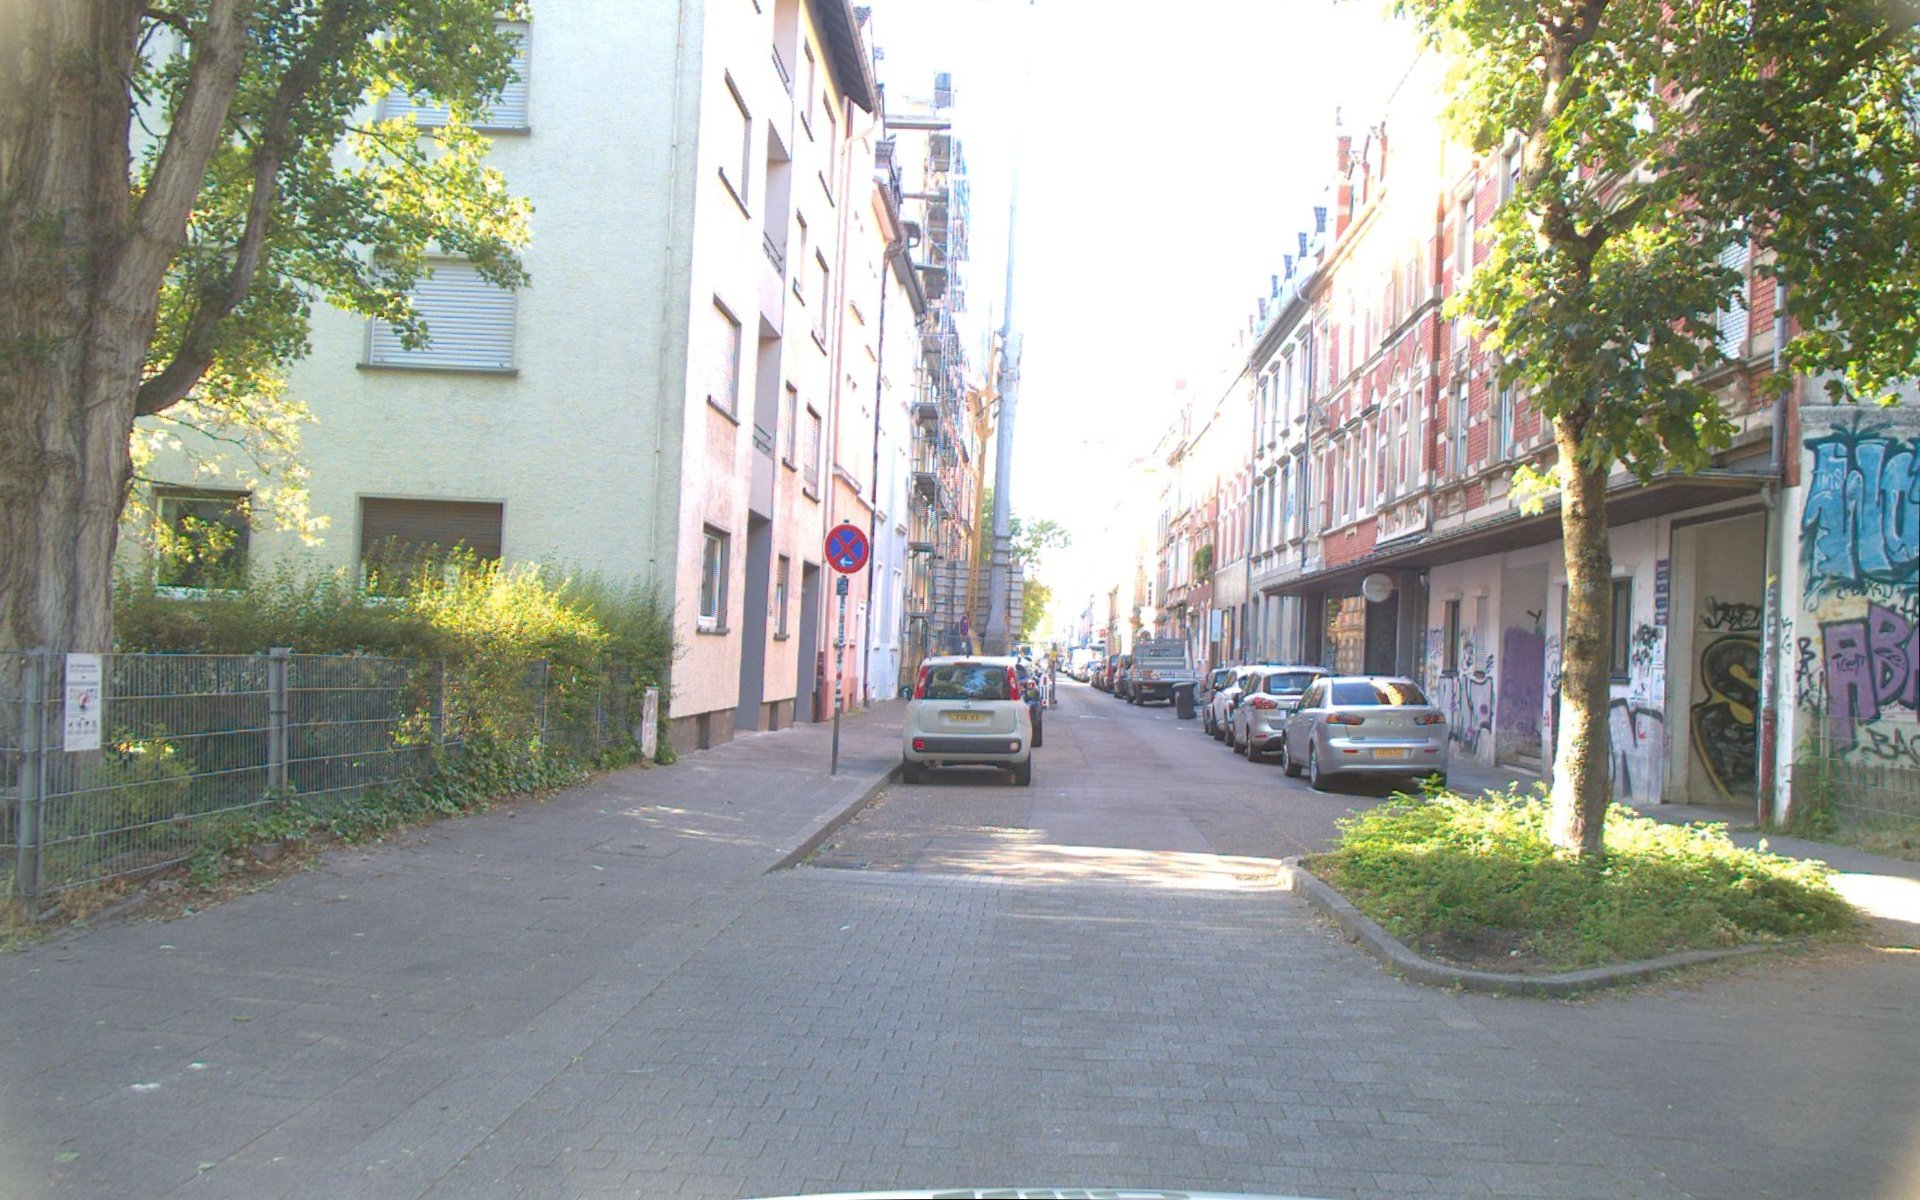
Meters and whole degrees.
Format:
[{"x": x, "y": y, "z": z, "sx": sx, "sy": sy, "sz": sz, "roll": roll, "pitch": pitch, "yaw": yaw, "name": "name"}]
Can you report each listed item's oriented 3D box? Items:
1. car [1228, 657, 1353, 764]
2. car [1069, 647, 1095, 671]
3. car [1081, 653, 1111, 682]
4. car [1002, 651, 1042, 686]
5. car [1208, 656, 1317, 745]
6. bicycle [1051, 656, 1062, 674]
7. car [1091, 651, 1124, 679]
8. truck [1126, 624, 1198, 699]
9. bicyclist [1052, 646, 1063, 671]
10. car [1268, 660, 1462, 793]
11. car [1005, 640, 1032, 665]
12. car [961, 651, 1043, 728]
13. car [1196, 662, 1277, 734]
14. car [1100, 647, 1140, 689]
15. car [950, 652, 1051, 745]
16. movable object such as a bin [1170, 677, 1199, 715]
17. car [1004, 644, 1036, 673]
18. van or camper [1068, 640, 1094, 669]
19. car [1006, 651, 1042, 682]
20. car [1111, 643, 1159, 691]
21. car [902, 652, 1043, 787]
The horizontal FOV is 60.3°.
[{"x": 5.779, "y": 1.895, "z": 29.292, "sx": 1.606, "sy": 1.685, "sz": 3.870, "roll": 2, "pitch": -2, "yaw": 3, "name": "car"}, {"x": 10.149, "y": 4.909, "z": 137.493, "sx": 1.952, "sy": 1.881, "sz": 4.000, "roll": 1, "pitch": -2, "yaw": 1, "name": "car"}, {"x": 10.114, "y": 4.981, "z": 122.980, "sx": 1.952, "sy": 2.049, "sz": 4.000, "roll": 2, "pitch": -2, "yaw": 1, "name": "car"}, {"x": 2.774, "y": 3.082, "z": 74.509, "sx": 1.640, "sy": 1.471, "sz": 3.868, "roll": 2, "pitch": -2, "yaw": 0, "name": "car"}, {"x": 6.299, "y": 2.062, "z": 34.825, "sx": 1.710, "sy": 1.705, "sz": 4.342, "roll": 2, "pitch": -2, "yaw": 4, "name": "car"}, {"x": 7.012, "y": 4.703, "z": 119.861, "sx": 0.709, "sy": 1.207, "sz": 2.043, "roll": 3, "pitch": -1, "yaw": 3, "name": "bicycle"}, {"x": 8.766, "y": 3.851, "z": 98.598, "sx": 1.640, "sy": 1.599, "sz": 3.868, "roll": 2, "pitch": -2, "yaw": 0, "name": "car"}, {"x": 7.541, "y": 2.297, "z": 62.160, "sx": 2.144, "sy": 2.653, "sz": 5.234, "roll": 1, "pitch": -2, "yaw": 1, "name": "truck"}, {"x": 7.045, "y": 4.236, "z": 119.826, "sx": 0.715, "sy": 1.792, "sz": 0.835, "roll": 3, "pitch": -1, "yaw": 3, "name": "bicyclist"}, {"x": 5.541, "y": 1.680, "z": 23.145, "sx": 1.685, "sy": 1.589, "sz": 4.398, "roll": 2, "pitch": -2, "yaw": 1, "name": "car"}, {"x": 4.495, "y": 4.071, "z": 127.824, "sx": 1.952, "sy": 1.881, "sz": 4.000, "roll": 1, "pitch": -2, "yaw": 1, "name": "car"}, {"x": 0.962, "y": 1.925, "z": 36.336, "sx": 1.640, "sy": 1.538, "sz": 4.415, "roll": 2, "pitch": -2, "yaw": 2, "name": "car"}, {"x": 6.670, "y": 2.339, "z": 40.133, "sx": 1.563, "sy": 1.588, "sz": 3.815, "roll": 2, "pitch": -2, "yaw": 4, "name": "car"}, {"x": 8.202, "y": 3.479, "z": 85.126, "sx": 1.640, "sy": 2.067, "sz": 3.868, "roll": 2, "pitch": -2, "yaw": 0, "name": "car"}, {"x": 0.704, "y": 1.760, "z": 30.446, "sx": 1.693, "sy": 1.567, "sz": 4.377, "roll": 1, "pitch": -2, "yaw": 0, "name": "car"}, {"x": 6.782, "y": 2.896, "z": 49.891, "sx": 0.778, "sy": 1.074, "sz": 0.660, "roll": 2, "pitch": -2, "yaw": 2, "name": "movable object such as a bin"}, {"x": 3.389, "y": 3.303, "z": 93.496, "sx": 1.640, "sy": 1.599, "sz": 3.868, "roll": 2, "pitch": -2, "yaw": 0, "name": "car"}, {"x": 11.053, "y": 4.959, "z": 151.608, "sx": 1.953, "sy": 2.552, "sz": 4.200, "roll": 1, "pitch": -2, "yaw": -2, "name": "van or camper"}, {"x": 3.190, "y": 3.348, "z": 83.313, "sx": 1.640, "sy": 1.471, "sz": 3.868, "roll": 2, "pitch": -2, "yaw": 0, "name": "car"}, {"x": 7.646, "y": 2.942, "z": 72.653, "sx": 1.640, "sy": 1.997, "sz": 4.108, "roll": 2, "pitch": -2, "yaw": 0, "name": "car"}, {"x": 0.159, "y": 1.487, "z": 21.597, "sx": 1.640, "sy": 1.567, "sz": 3.868, "roll": 1, "pitch": -2, "yaw": 0, "name": "car"}]
